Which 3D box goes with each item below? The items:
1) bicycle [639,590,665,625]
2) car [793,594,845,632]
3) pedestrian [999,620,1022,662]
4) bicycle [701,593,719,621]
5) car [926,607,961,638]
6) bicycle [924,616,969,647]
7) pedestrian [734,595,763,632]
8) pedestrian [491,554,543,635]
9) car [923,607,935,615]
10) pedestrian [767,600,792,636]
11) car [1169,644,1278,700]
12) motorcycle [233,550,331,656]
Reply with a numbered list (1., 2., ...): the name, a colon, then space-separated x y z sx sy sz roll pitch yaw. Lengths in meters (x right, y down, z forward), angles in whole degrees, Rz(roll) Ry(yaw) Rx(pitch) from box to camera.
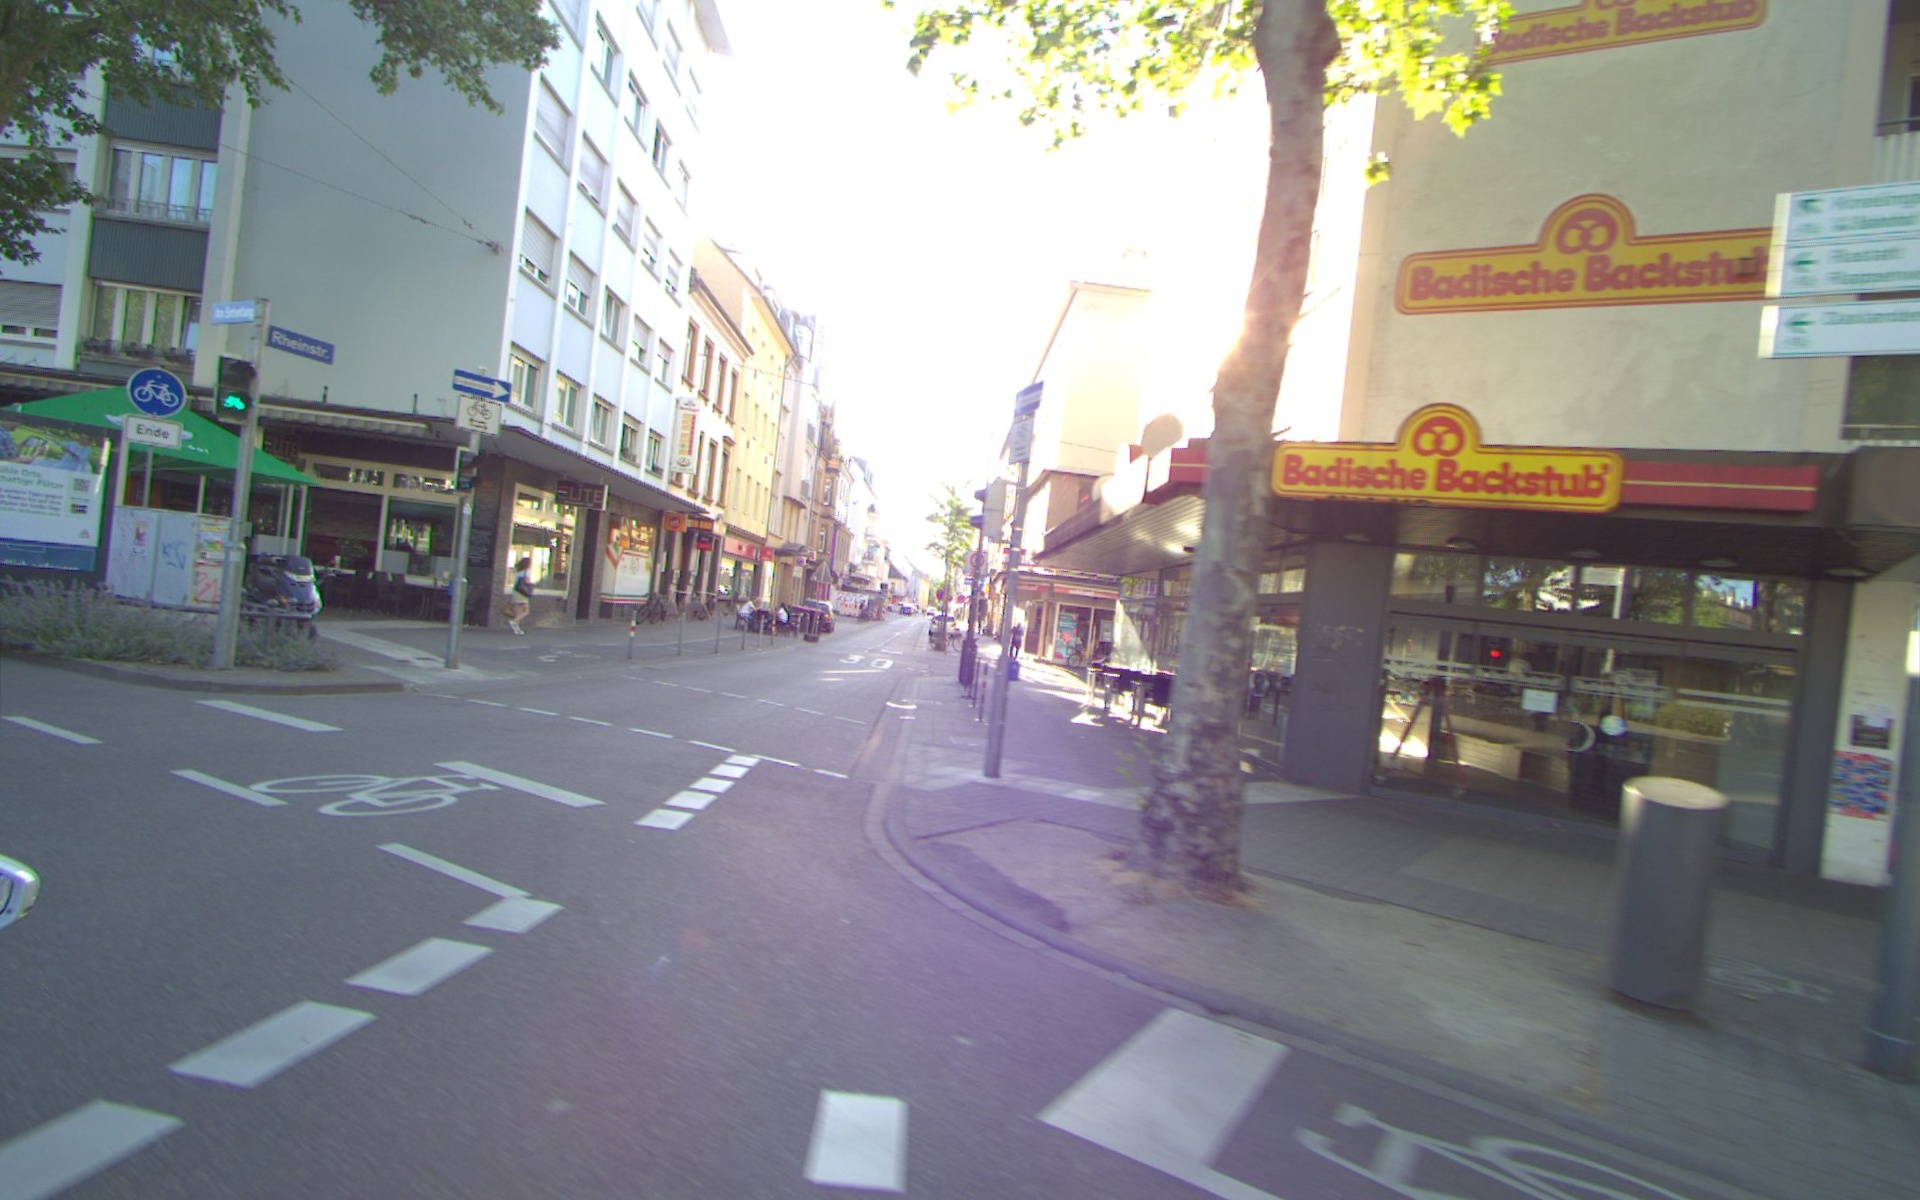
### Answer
1. bicycle: -9.765 0.251 31.898 0.289 1.053 1.718 5 -1 -2
2. car: -6.778 0.597 48.673 1.809 1.513 3.998 8 0 -1
3. pedestrian: 2.019 1.639 40.352 0.654 1.594 0.694 8 -1 -2
4. bicycle: -10.131 0.265 40.795 0.289 1.054 1.716 5 2 -2
5. car: -1.001 1.473 64.547 1.808 1.681 4.004 8 -2 3
6. bicycle: -0.607 1.377 44.745 1.876 1.138 0.509 7 0 -2
7. pedestrian: -7.936 0.499 37.746 0.720 1.258 0.551 8 -1 33
8. pedestrian: -9.231 -0.118 20.984 0.705 1.566 0.602 8 -1 -15
9. car: -5.784 2.008 187.600 1.808 1.323 4.001 7 -1 1
10. pedestrian: -6.778 0.677 37.799 0.682 1.258 0.598 8 -1 -4
11. car: 10.158 2.776 38.954 3.662 1.608 1.659 7 0 2
12. motorcycle: -8.585 0.021 12.721 1.440 1.171 0.569 6 -2 42
